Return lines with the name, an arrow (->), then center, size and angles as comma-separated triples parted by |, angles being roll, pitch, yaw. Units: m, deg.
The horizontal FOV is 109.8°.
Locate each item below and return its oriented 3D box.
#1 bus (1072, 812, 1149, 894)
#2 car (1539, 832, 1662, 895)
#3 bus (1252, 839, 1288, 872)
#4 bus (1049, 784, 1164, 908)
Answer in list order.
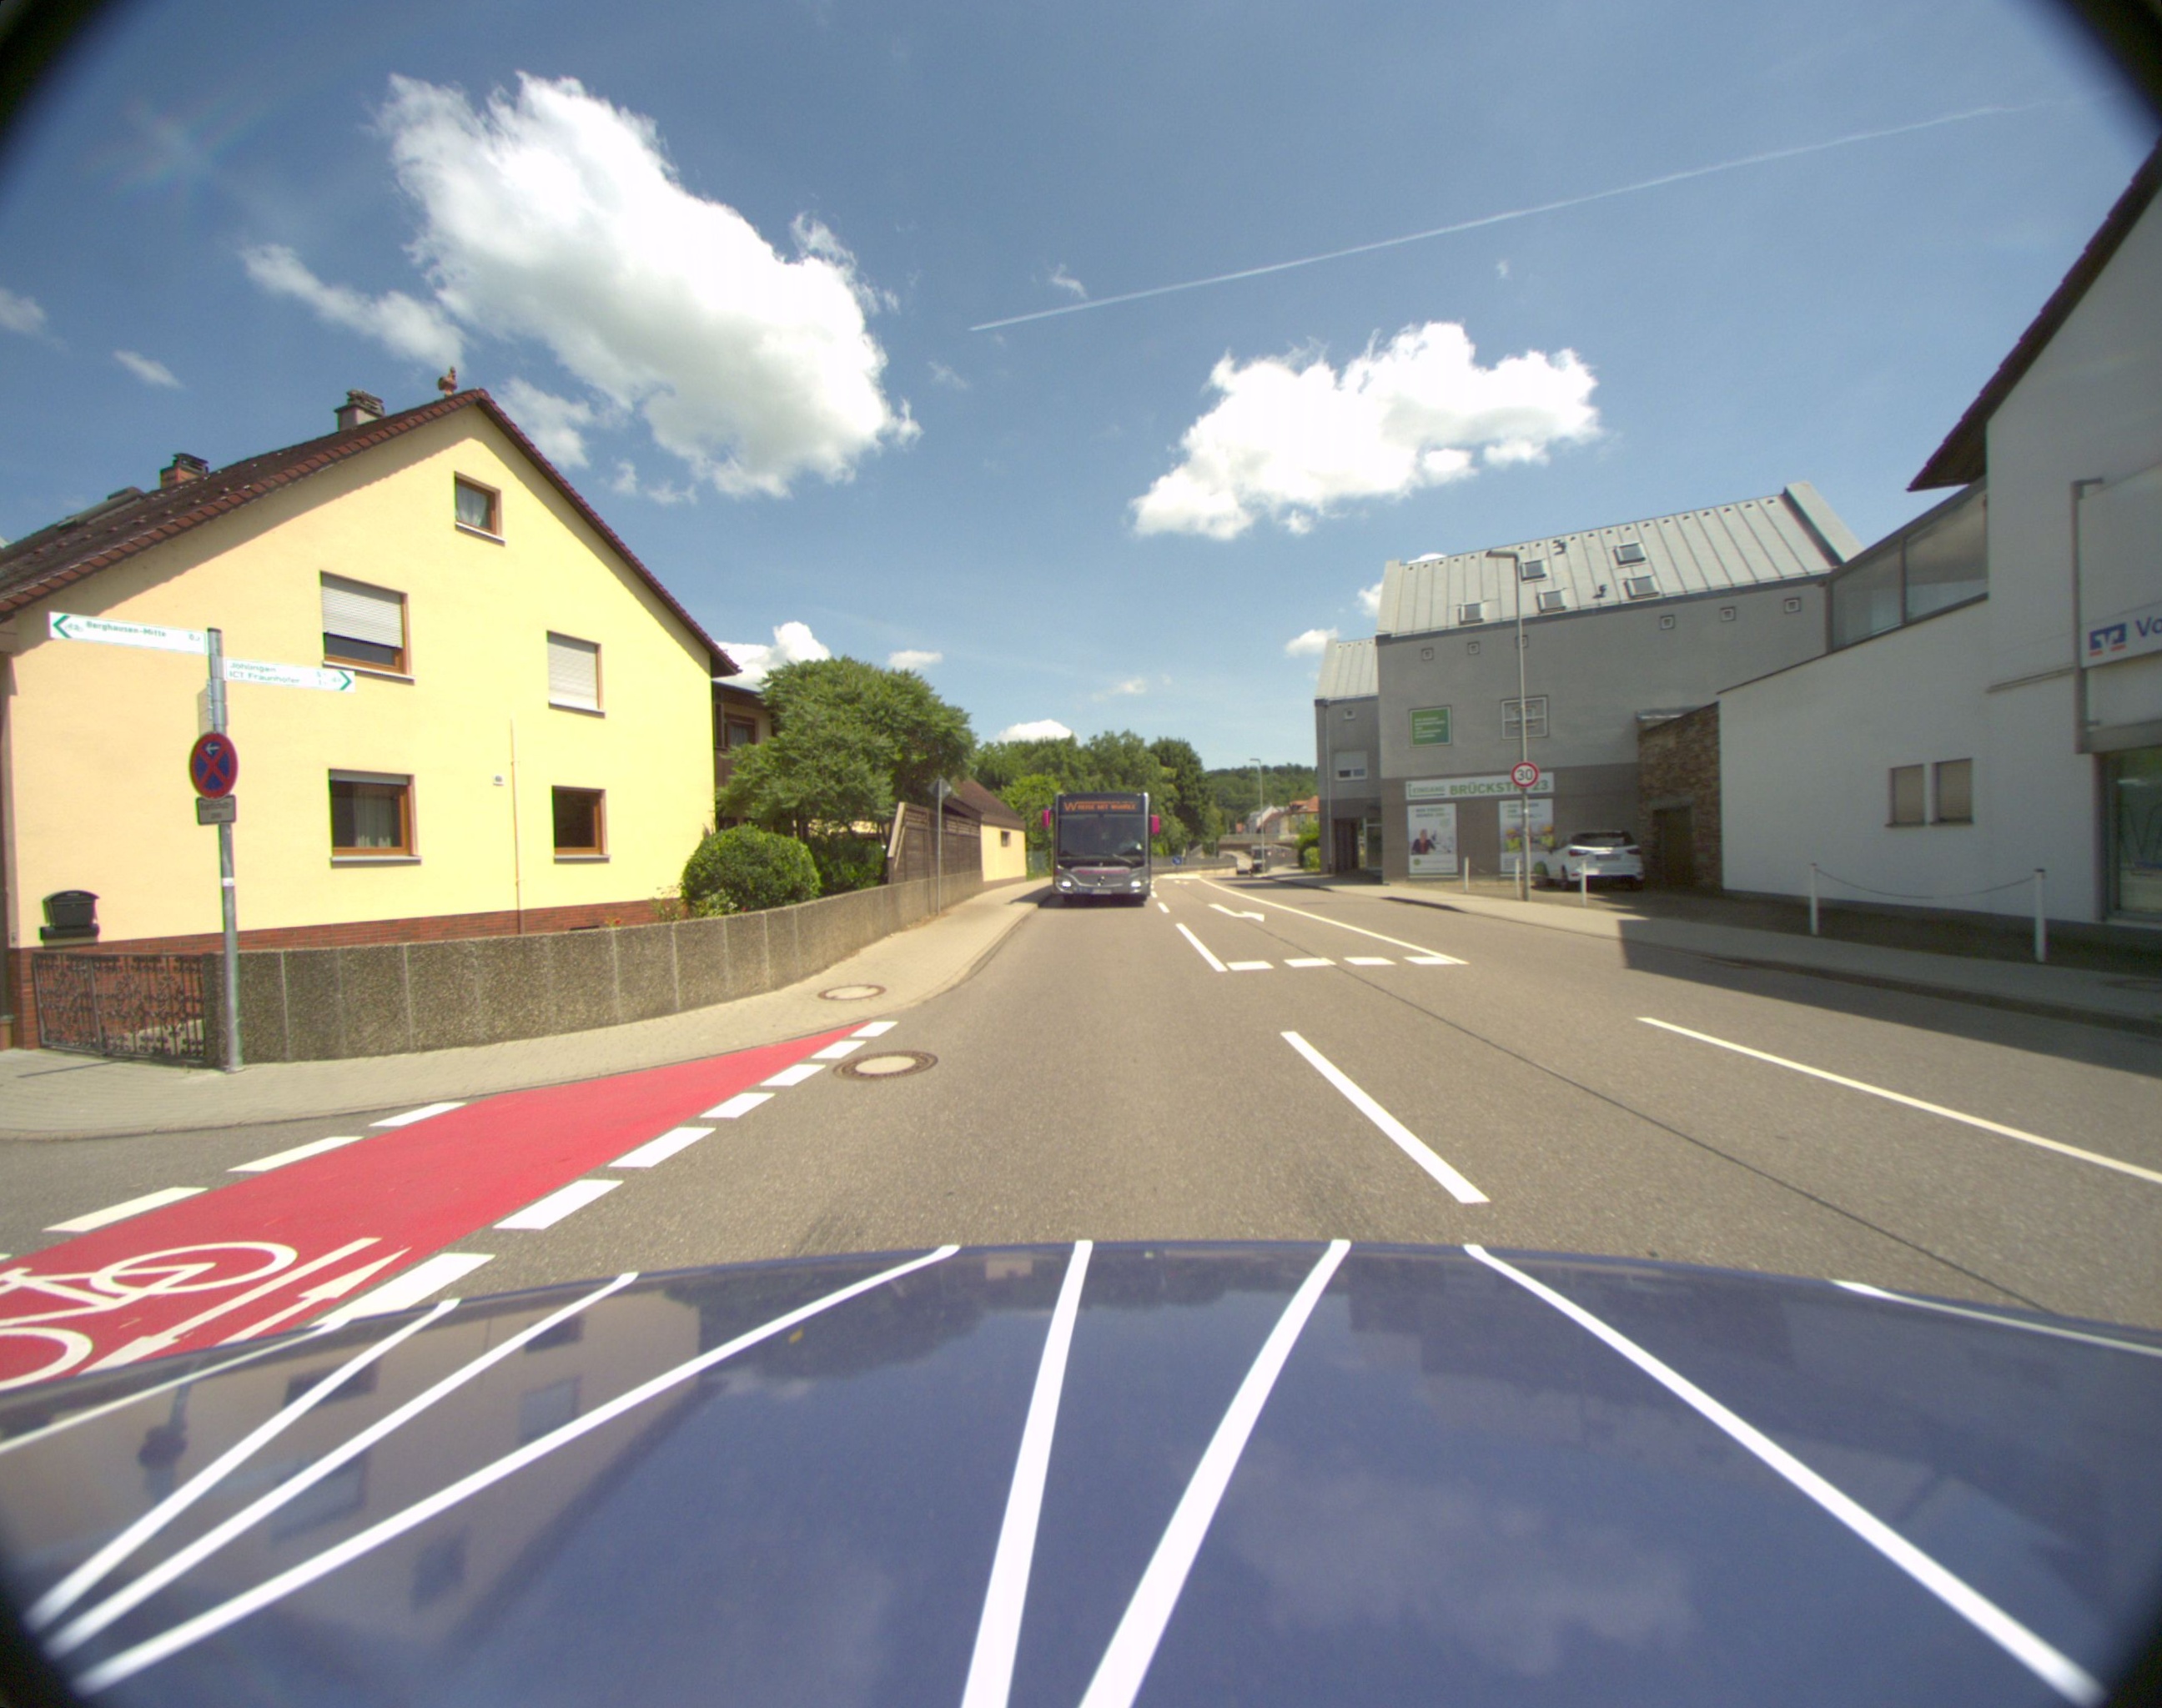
bus -> 1.230, 0.047, 32.200 | 2.755, 2.949, 9.284 | -1, -1, 2
car -> 14.288, 0.234, 21.164 | 1.995, 1.565, 4.259 | -1, 0, 22
bus -> 24.843, 0.232, 99.465 | 2.813, 3.977, 10.986 | -2, -1, 23
bus -> 0.836, -0.101, 22.921 | 2.755, 2.949, 9.284 | -1, -1, 3
